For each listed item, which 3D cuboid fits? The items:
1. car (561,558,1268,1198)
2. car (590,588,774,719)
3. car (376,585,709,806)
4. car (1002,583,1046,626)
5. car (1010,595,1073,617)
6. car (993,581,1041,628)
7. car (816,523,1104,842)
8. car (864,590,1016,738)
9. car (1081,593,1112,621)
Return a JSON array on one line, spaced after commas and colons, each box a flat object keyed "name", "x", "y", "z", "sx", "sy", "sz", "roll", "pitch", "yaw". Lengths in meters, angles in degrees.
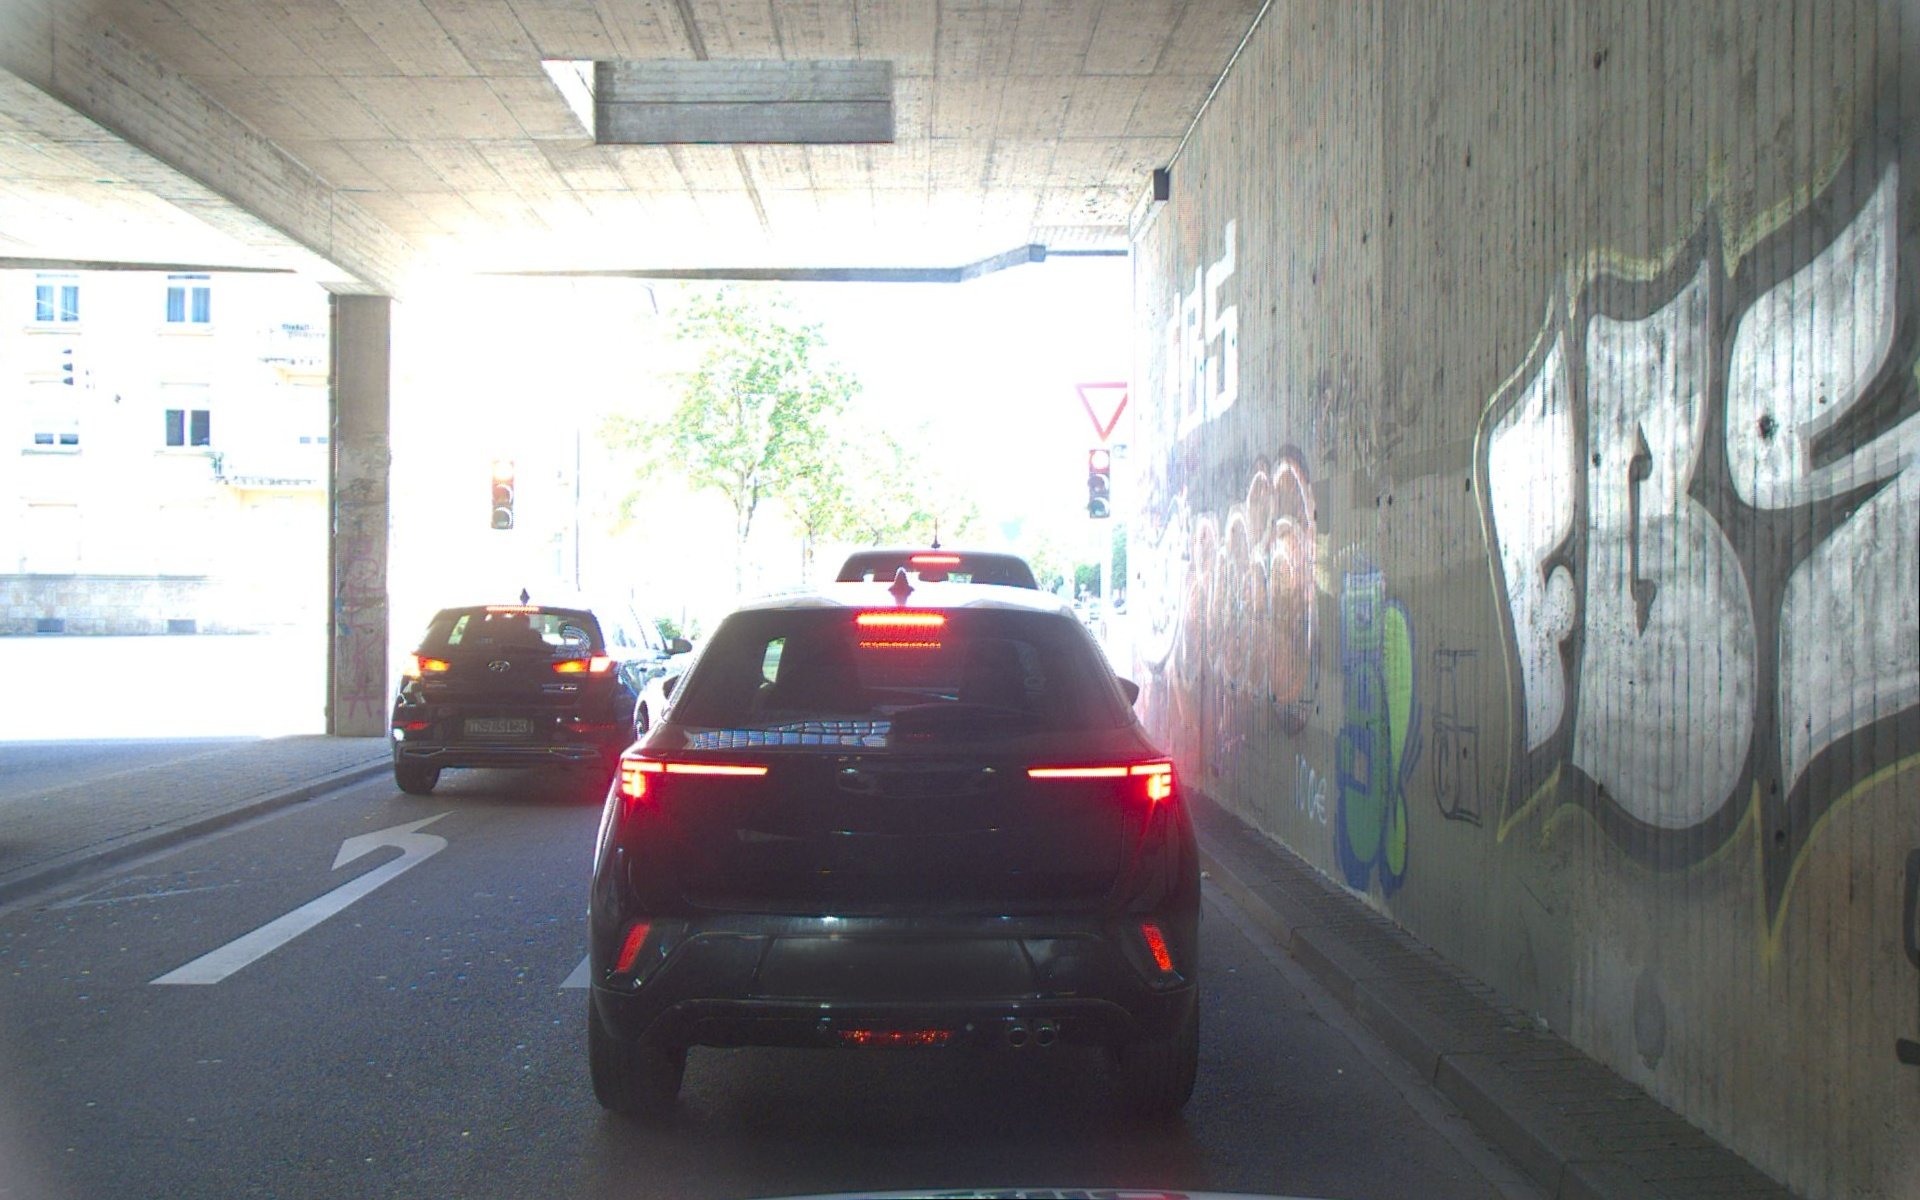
[{"name": "car", "x": -0.136, "y": 0.676, "z": 6.094, "sx": 1.726, "sy": 1.558, "sz": 4.088, "roll": 0, "pitch": 0, "yaw": -1}, {"name": "car", "x": -3.417, "y": 0.613, "z": 20.957, "sx": 1.726, "sy": 1.506, "sz": 3.843, "roll": 0, "pitch": 0, "yaw": -1}, {"name": "car", "x": -3.147, "y": 0.651, "z": 13.237, "sx": 1.726, "sy": 1.506, "sz": 3.843, "roll": 0, "pitch": 0, "yaw": -1}, {"name": "car", "x": 2.668, "y": 0.209, "z": 68.360, "sx": 1.717, "sy": 1.696, "sz": 3.946, "roll": 1, "pitch": 0, "yaw": 3}, {"name": "car", "x": 6.589, "y": 0.507, "z": 133.875, "sx": 4.732, "sy": 1.696, "sz": 1.812, "roll": 1, "pitch": 0, "yaw": -22}, {"name": "car", "x": 2.179, "y": 0.175, "z": 62.234, "sx": 1.717, "sy": 1.696, "sz": 3.946, "roll": 1, "pitch": 0, "yaw": 3}, {"name": "car", "x": -0.030, "y": 0.494, "z": 12.039, "sx": 1.726, "sy": 1.915, "sz": 4.145, "roll": 0, "pitch": 0, "yaw": -1}, {"name": "car", "x": -0.236, "y": 0.661, "z": 19.253, "sx": 1.576, "sy": 1.539, "sz": 4.053, "roll": 0, "pitch": 0, "yaw": -1}, {"name": "car", "x": 8.691, "y": 0.467, "z": 105.069, "sx": 1.716, "sy": 1.696, "sz": 3.947, "roll": 1, "pitch": 0, "yaw": 8}]
